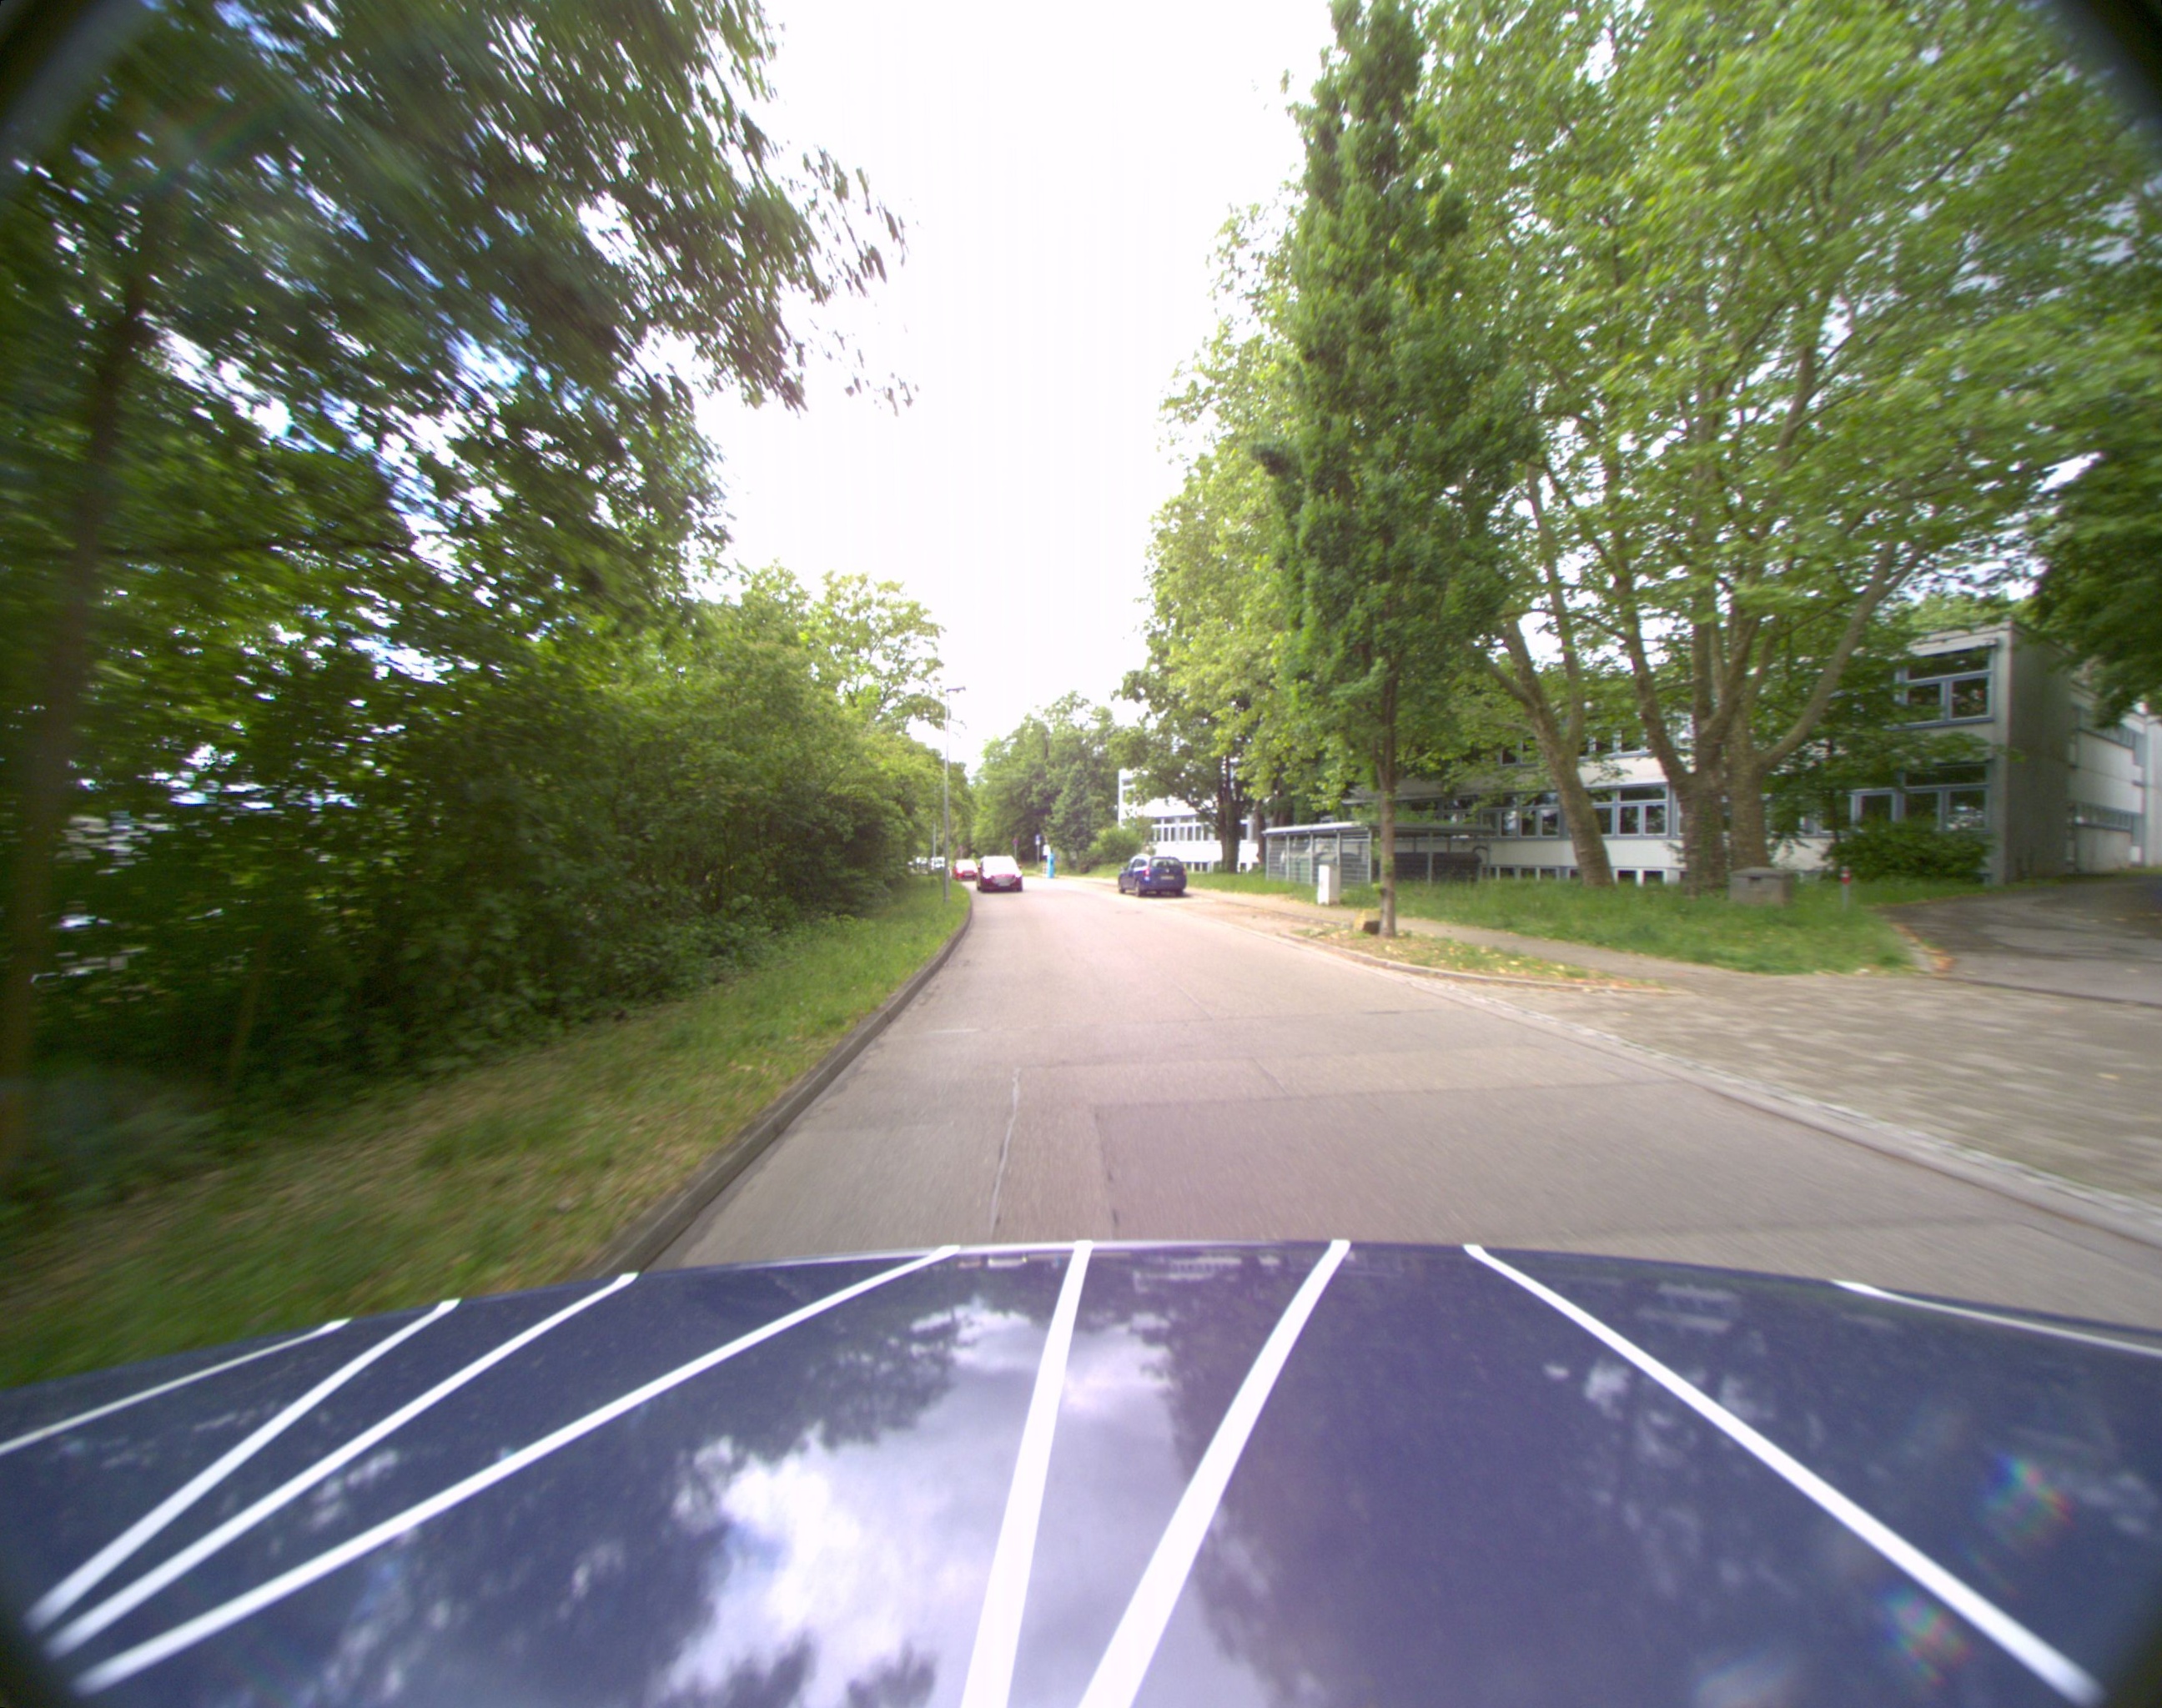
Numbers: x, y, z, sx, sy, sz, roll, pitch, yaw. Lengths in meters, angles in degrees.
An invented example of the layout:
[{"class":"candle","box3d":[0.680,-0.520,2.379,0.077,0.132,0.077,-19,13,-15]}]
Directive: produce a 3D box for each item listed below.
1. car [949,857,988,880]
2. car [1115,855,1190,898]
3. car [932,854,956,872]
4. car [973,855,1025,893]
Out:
[{"class":"car","box3d":[-7.987,1.031,53.618,2.002,1.564,3.994,1,0,-18]},{"class":"car","box3d":[2.614,0.781,28.794,1.685,1.503,4.427,0,0,-10]},{"class":"car","box3d":[-12.890,0.834,71.527,1.923,1.587,3.893,1,0,-15]},{"class":"car","box3d":[-3.924,0.885,35.791,1.863,1.608,4.471,-2,0,-13]}]
